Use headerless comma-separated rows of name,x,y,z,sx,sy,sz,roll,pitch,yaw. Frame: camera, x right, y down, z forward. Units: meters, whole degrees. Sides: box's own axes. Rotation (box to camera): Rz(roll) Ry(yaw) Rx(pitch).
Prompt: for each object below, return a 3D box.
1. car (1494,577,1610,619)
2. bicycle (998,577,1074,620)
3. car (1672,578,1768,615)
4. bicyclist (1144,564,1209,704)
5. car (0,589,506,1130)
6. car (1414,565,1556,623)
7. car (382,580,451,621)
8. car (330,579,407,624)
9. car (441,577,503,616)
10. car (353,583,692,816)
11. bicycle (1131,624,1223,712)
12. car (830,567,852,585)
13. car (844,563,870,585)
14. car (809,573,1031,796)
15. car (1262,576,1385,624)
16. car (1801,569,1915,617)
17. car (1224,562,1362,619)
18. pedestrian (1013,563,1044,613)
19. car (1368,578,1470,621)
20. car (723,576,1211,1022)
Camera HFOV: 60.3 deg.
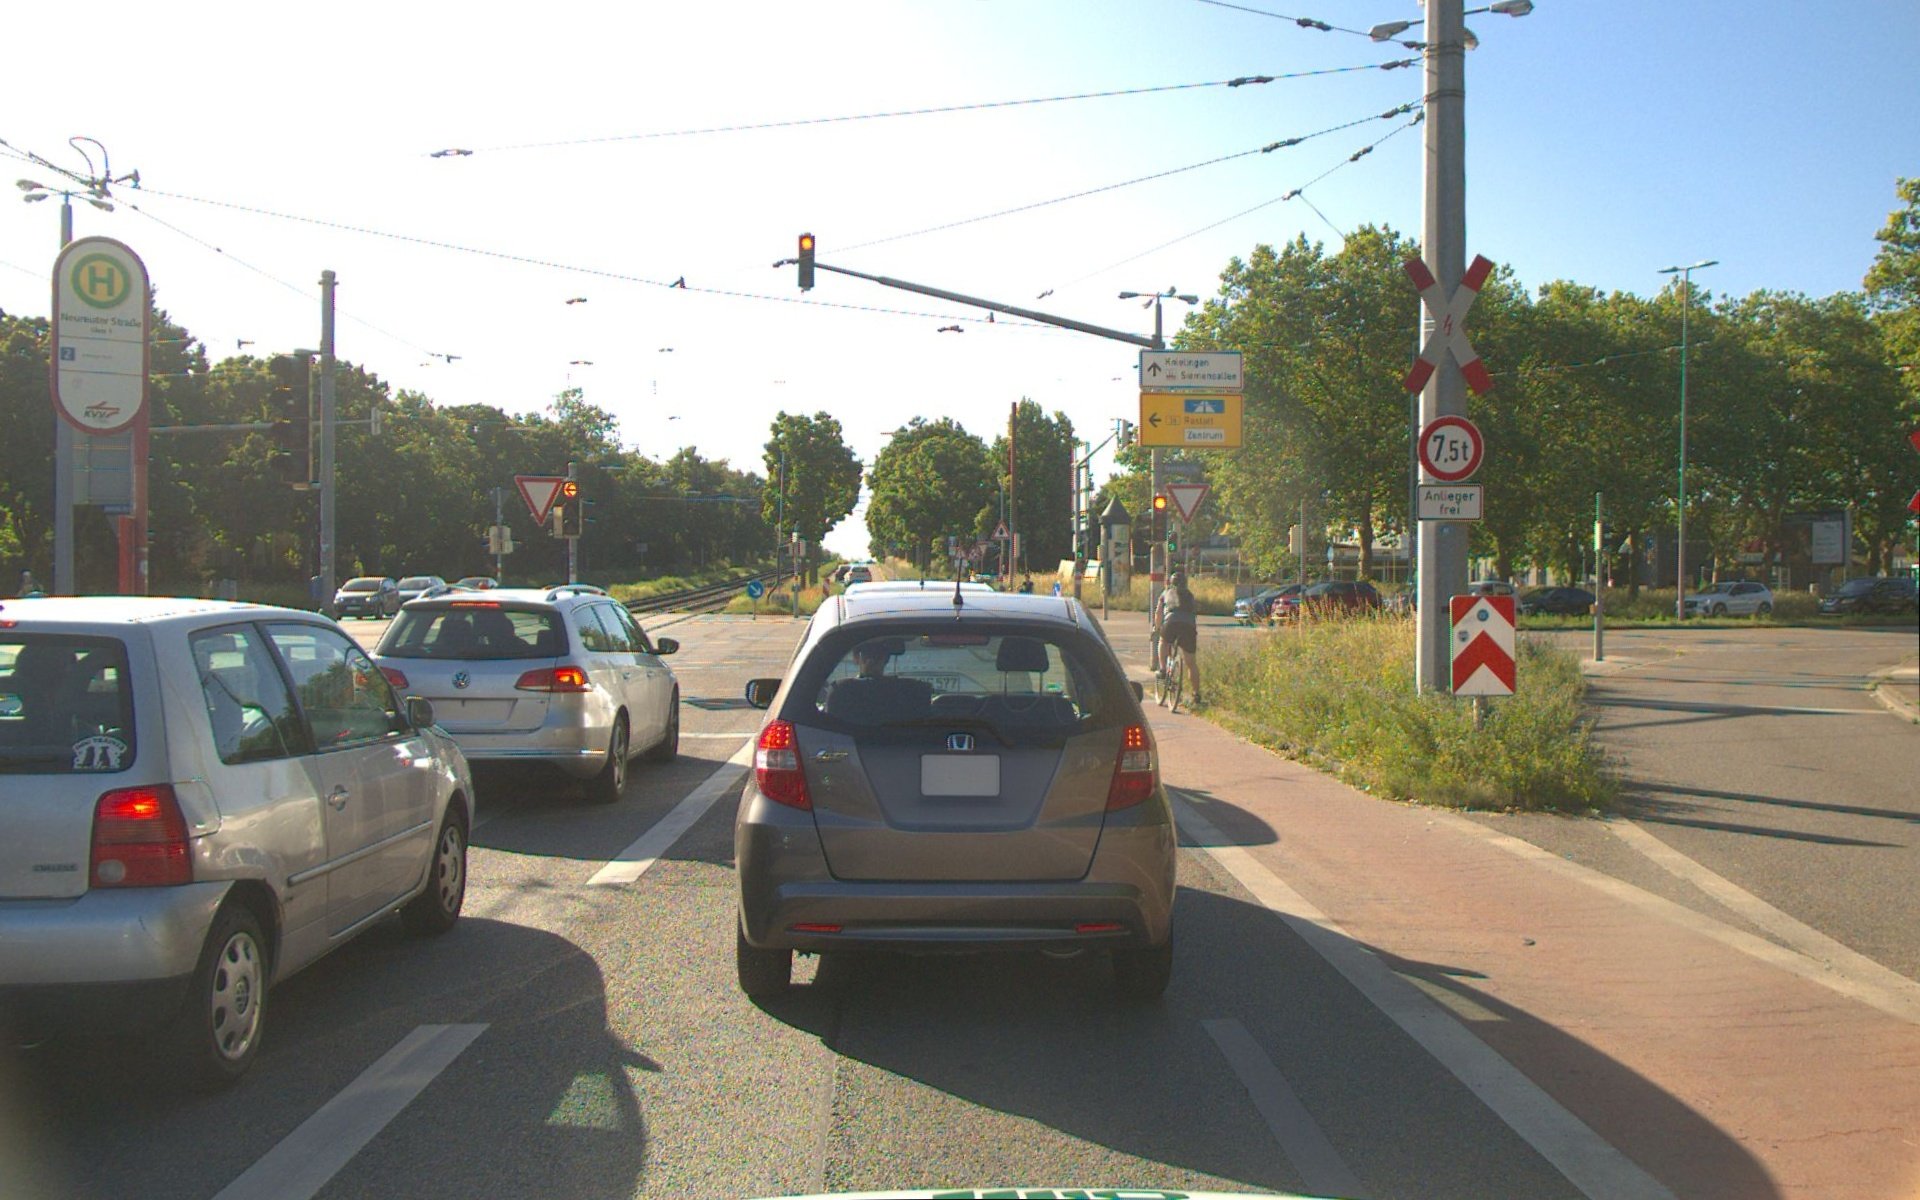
car,23.588,-0.099,65.870,4.450,1.601,1.681,0,0,-24
bicycle,2.892,-0.072,62.487,3.185,1.602,0.809,-1,0,-41
car,32.259,-0.169,70.187,3.937,1.527,1.580,0,0,-26
bicyclist,2.765,0.425,21.205,0.652,1.746,0.948,1,0,-2
car,-2.897,0.701,6.085,1.586,1.442,3.350,0,0,-1
car,19.018,-0.228,59.885,4.823,2.049,1.985,0,0,-24
car,-21.489,0.014,65.535,1.798,1.575,4.277,0,0,-8
car,-21.320,0.031,59.747,1.798,1.575,3.993,0,0,-8
car,-21.737,-0.170,73.784,1.956,1.632,4.746,1,1,-8
car,-3.155,0.651,12.725,1.586,1.482,4.084,1,0,-1
bicycle,2.752,0.838,21.283,0.707,1.006,2.875,1,0,-2
car,-9.634,-1.906,133.563,1.494,1.403,3.670,0,0,-8
car,-7.113,-1.777,114.308,1.676,1.504,3.996,0,0,-5
car,-0.335,0.596,13.987,1.578,1.589,4.287,0,0,-1
car,12.355,-0.015,56.163,3.934,1.557,1.594,-1,1,-24
car,34.731,-0.303,63.978,4.148,1.805,1.841,0,0,-26
car,12.173,-0.330,60.449,4.626,1.912,1.985,2,0,-24
pedestrian,2.577,-0.437,62.193,0.847,1.868,0.779,0,0,-41
car,17.572,-0.025,63.303,3.694,1.597,1.480,0,0,-24
car,-0.064,0.657,7.355,1.635,1.487,3.584,0,0,-3
